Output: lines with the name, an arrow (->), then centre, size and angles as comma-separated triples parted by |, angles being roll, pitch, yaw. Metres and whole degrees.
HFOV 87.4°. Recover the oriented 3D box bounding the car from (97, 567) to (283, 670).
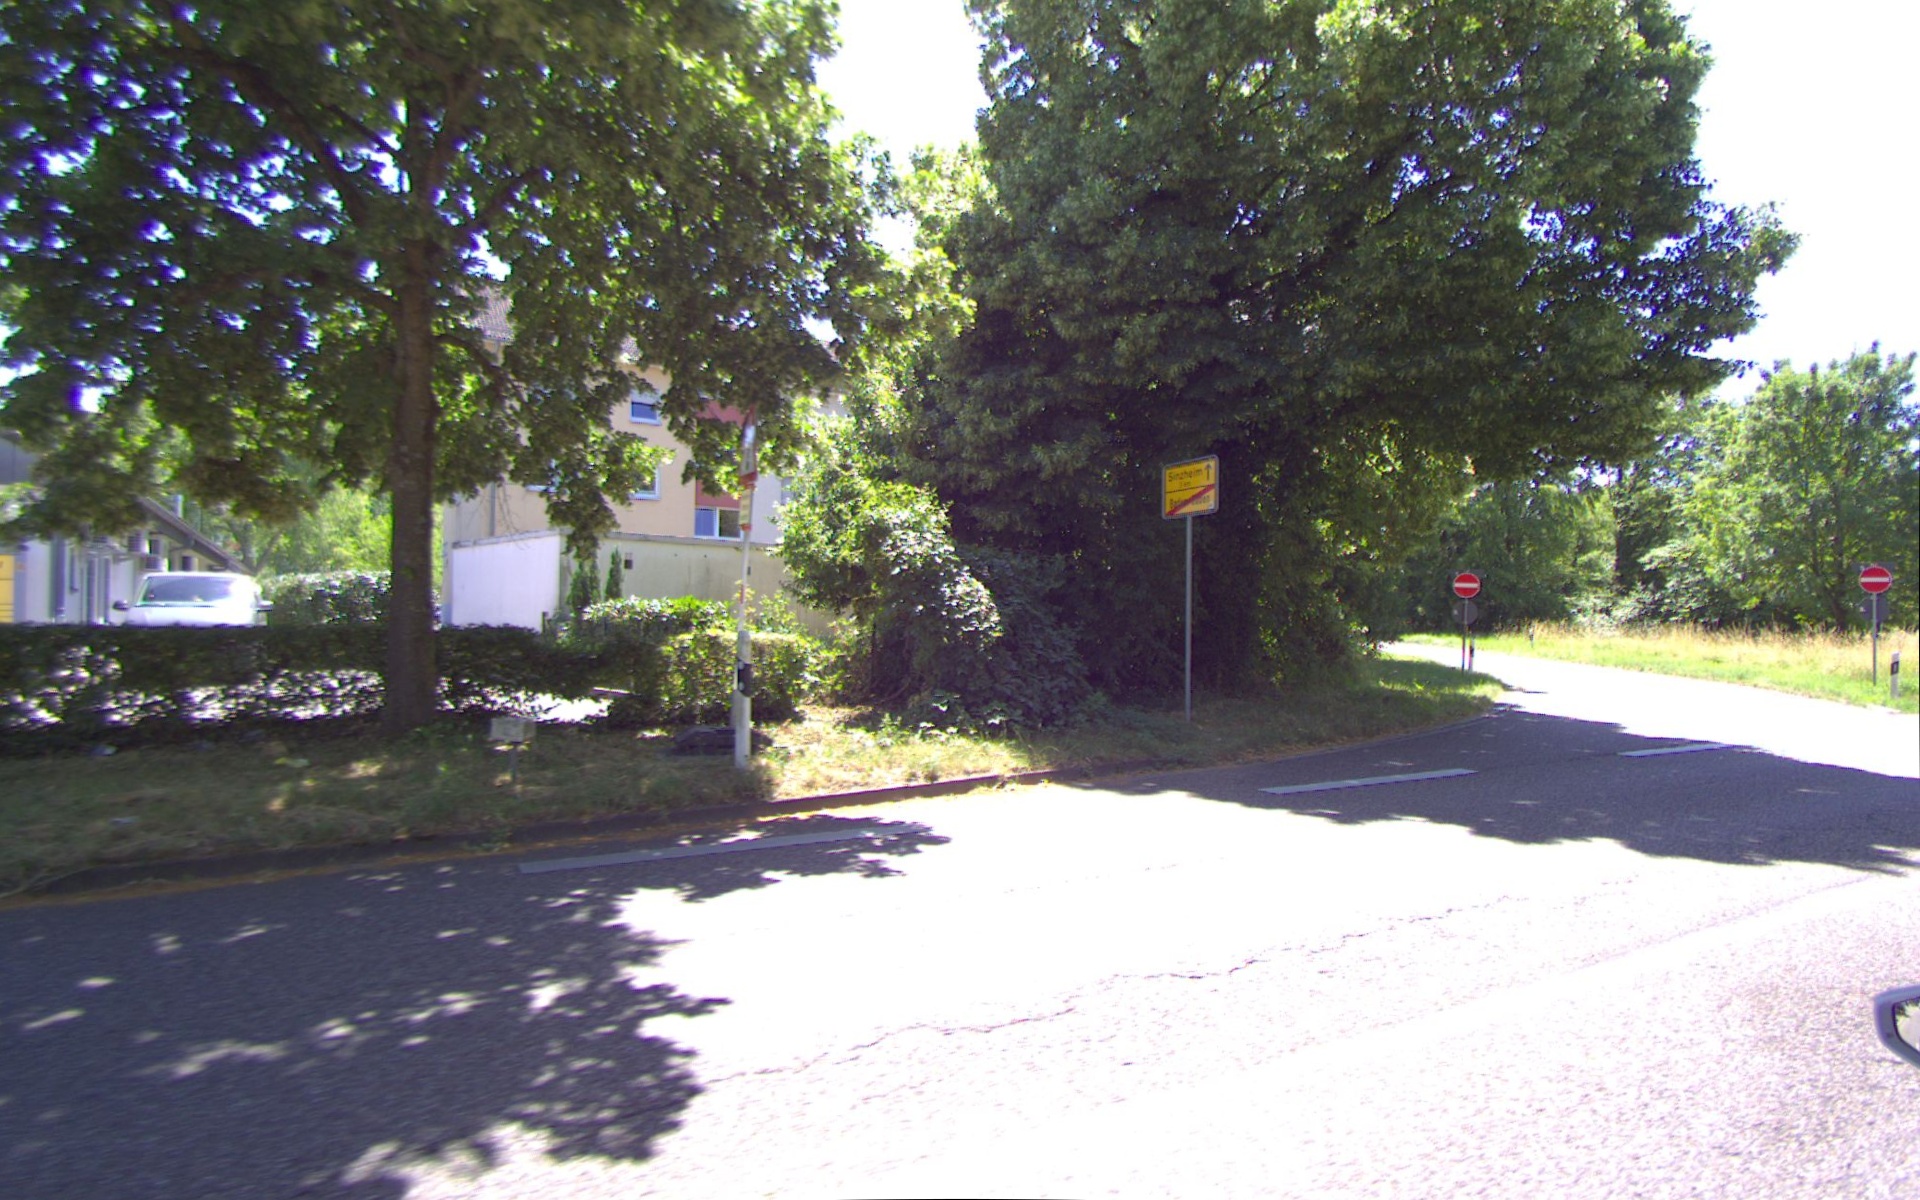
car -> -13.963, 0.248, 18.538 | 2.215, 1.592, 4.958 | 2, 1, -32
